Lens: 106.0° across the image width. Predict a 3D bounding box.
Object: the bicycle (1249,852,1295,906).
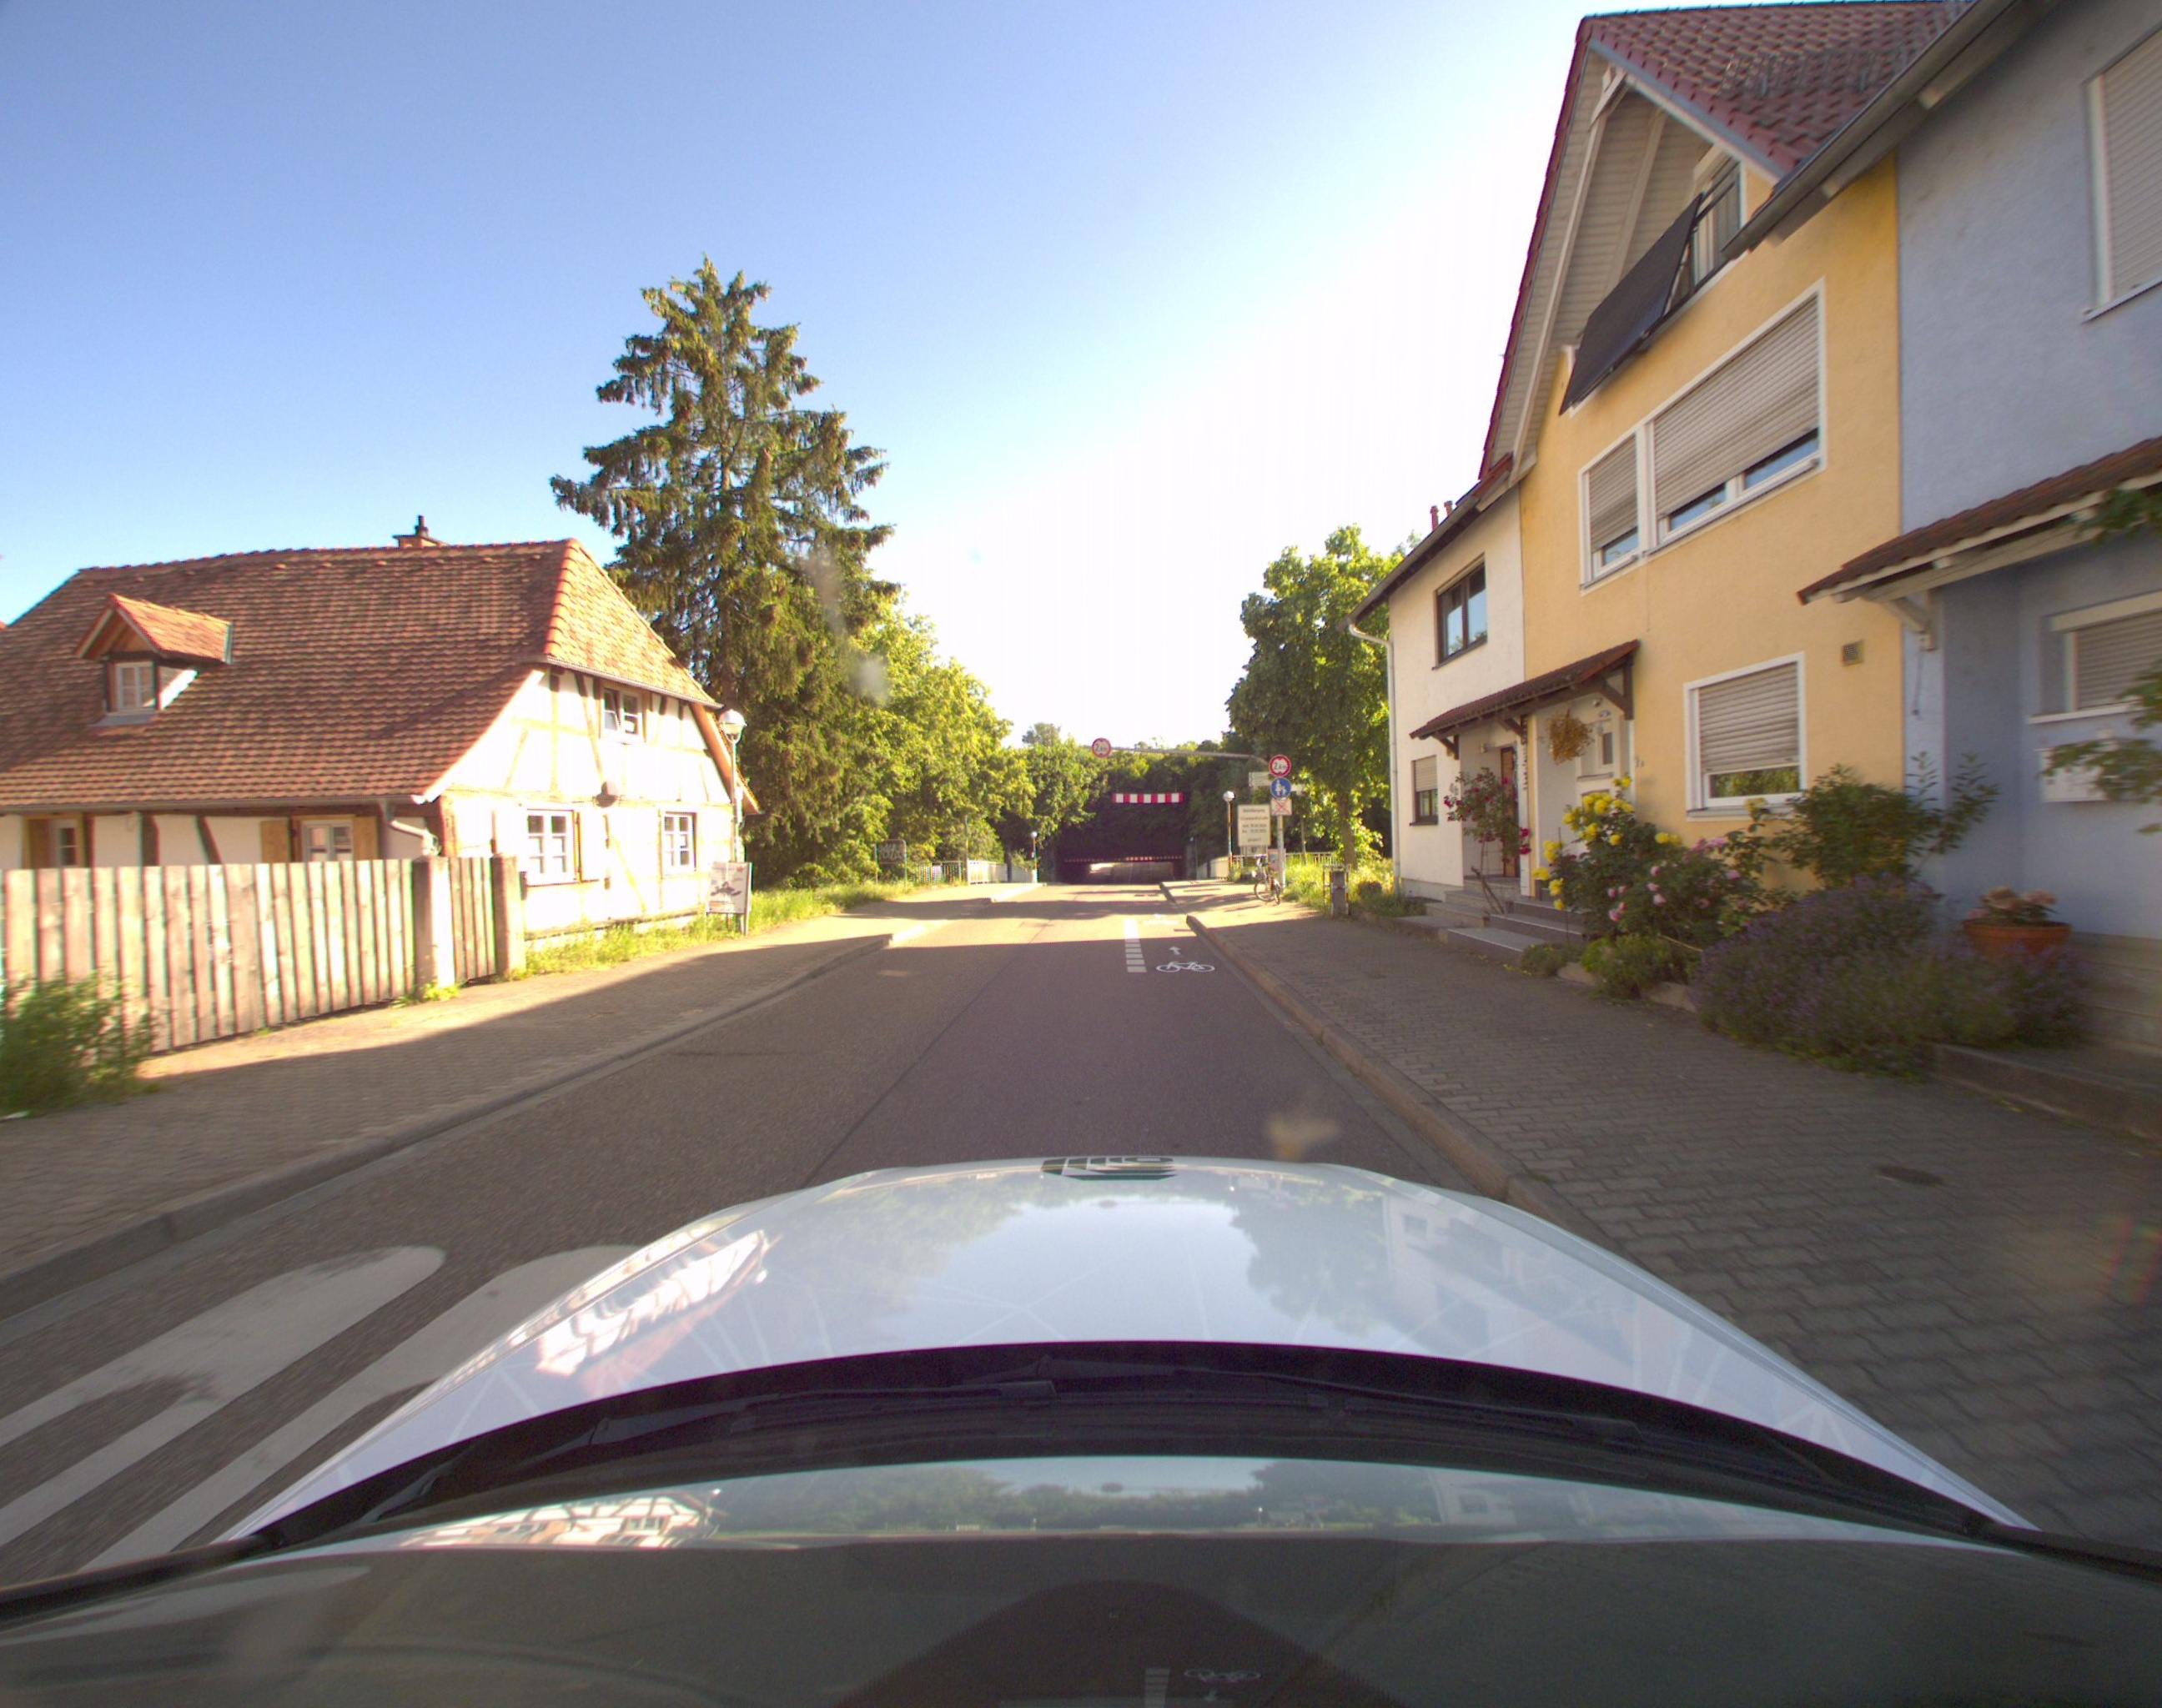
[{"bbox_3d":[4.646,0.589,19.882,0.686,1.157,1.540,-8,0,2],"label":"bicycle"}]
